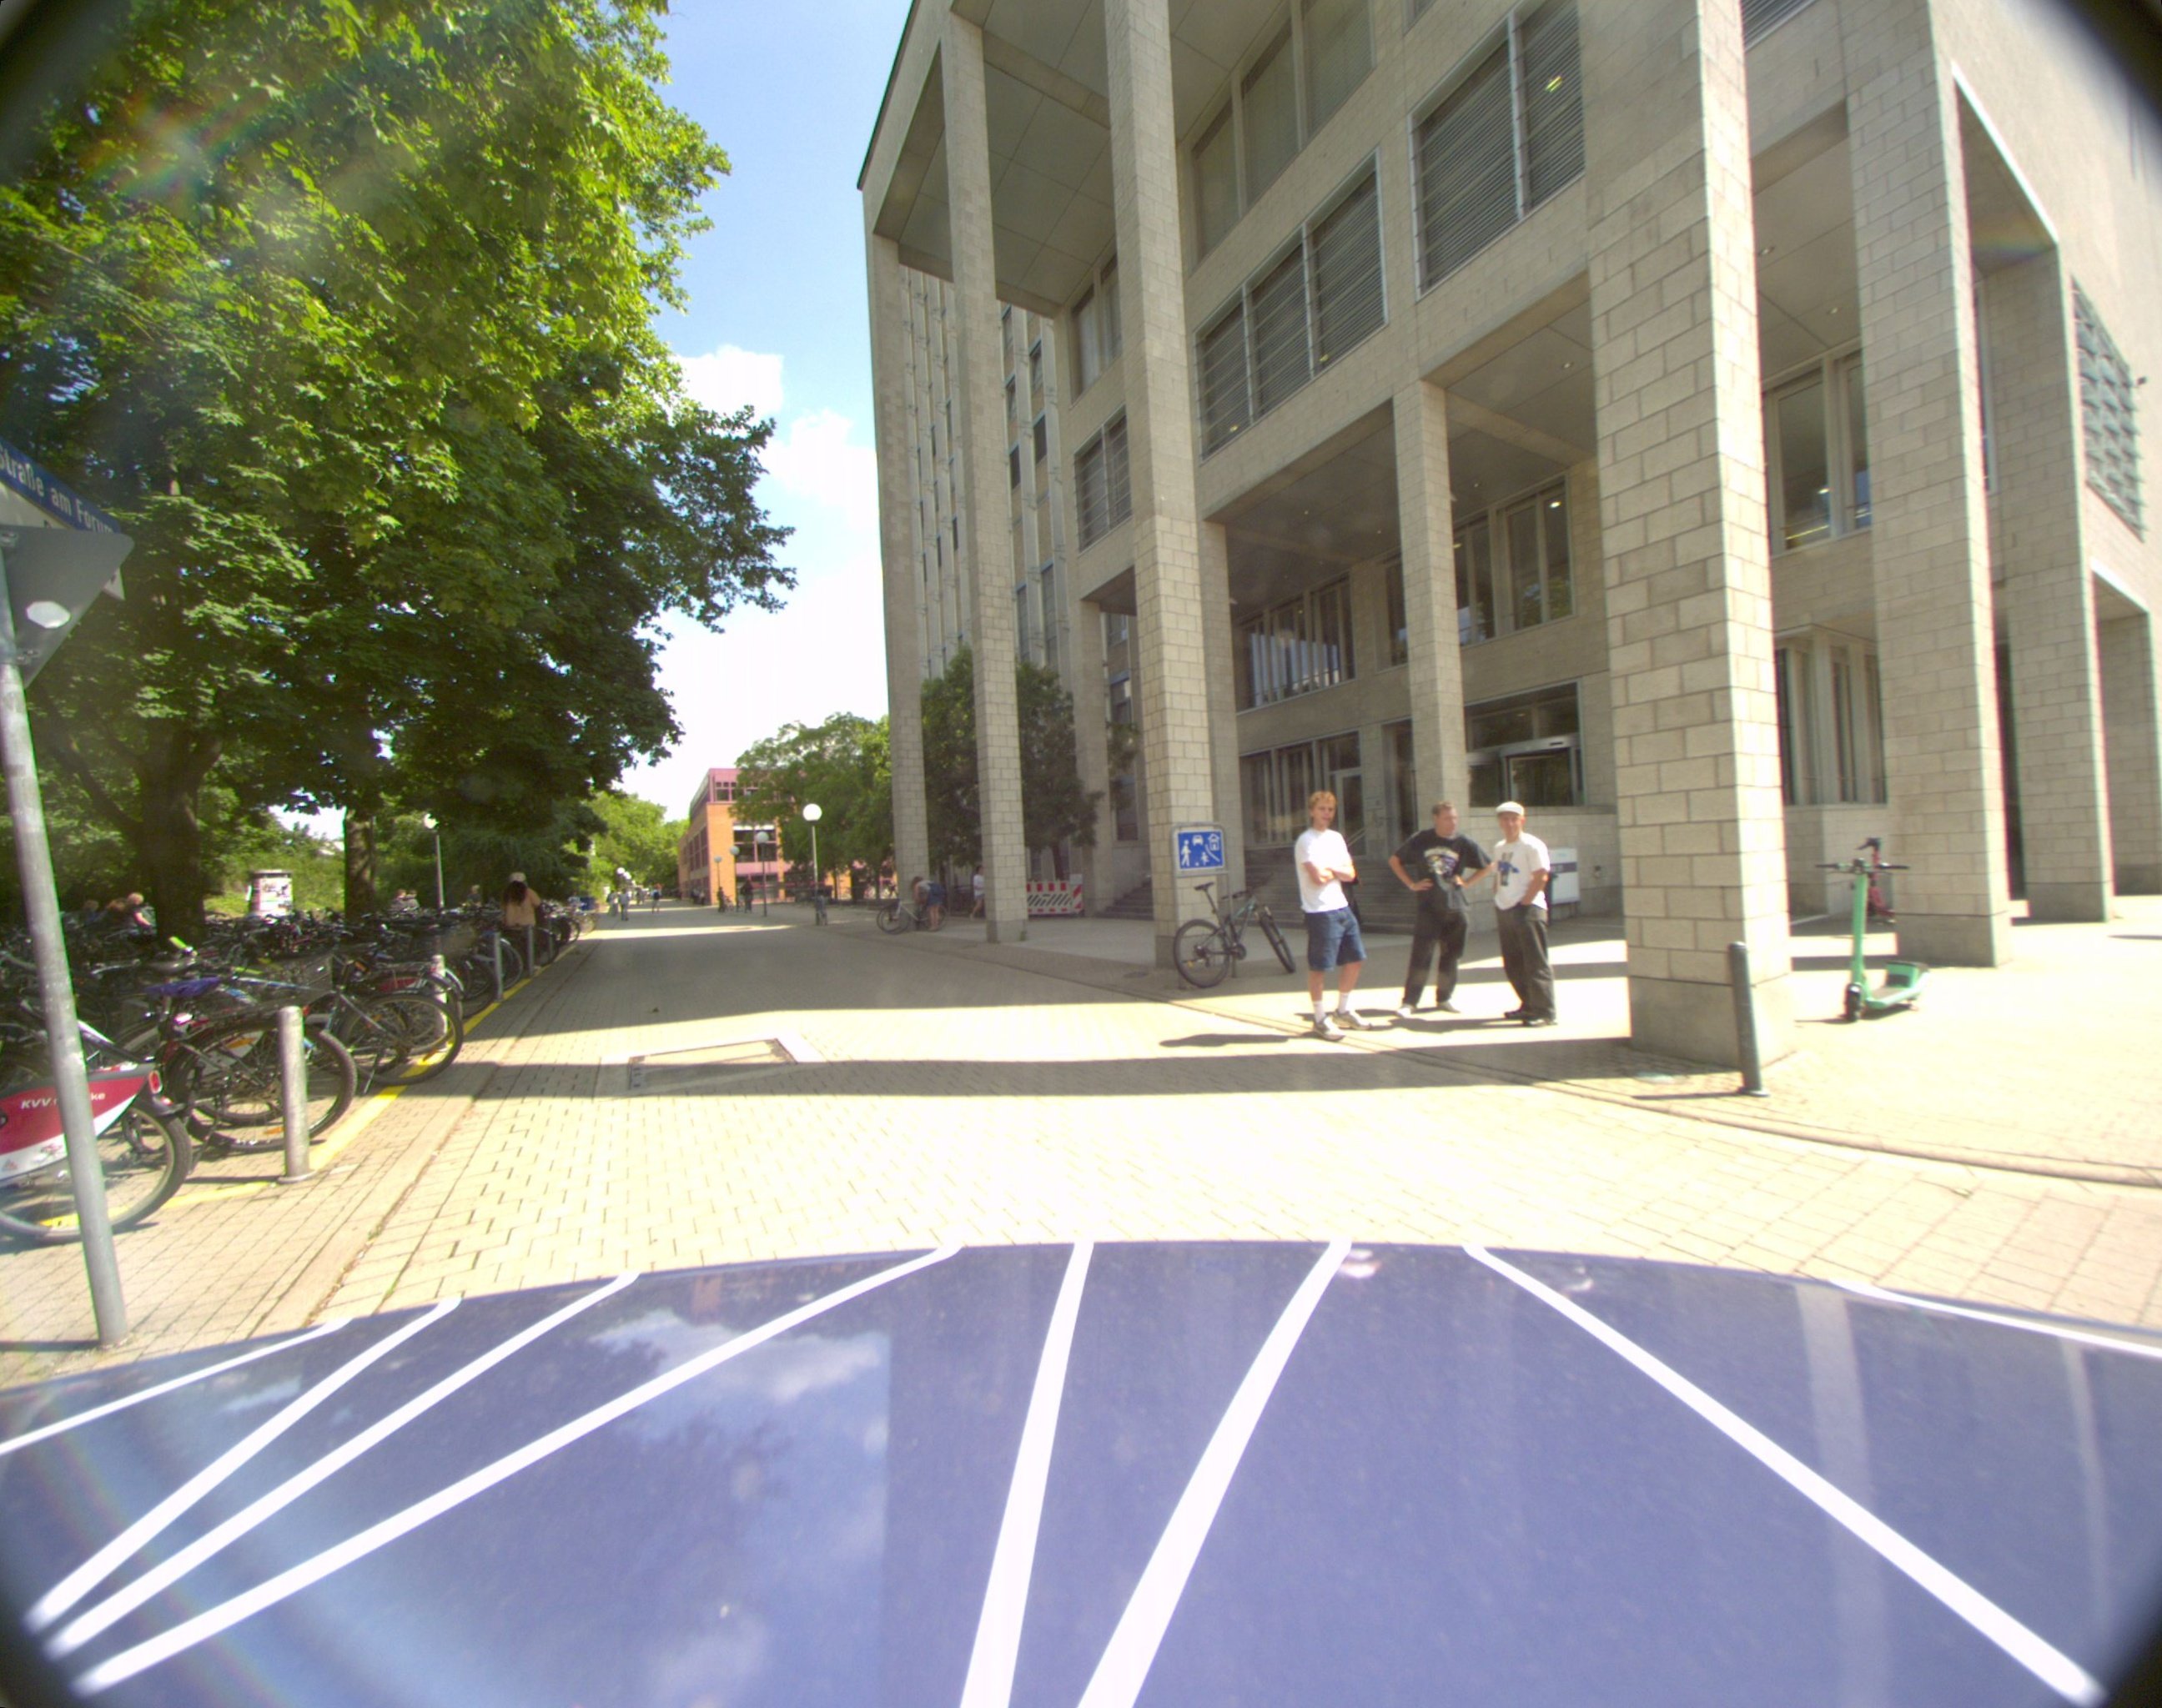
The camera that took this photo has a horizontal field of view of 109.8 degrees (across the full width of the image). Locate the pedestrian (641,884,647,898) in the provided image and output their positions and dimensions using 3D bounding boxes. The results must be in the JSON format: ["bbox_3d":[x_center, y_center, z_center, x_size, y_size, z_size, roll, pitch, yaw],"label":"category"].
[{"bbox_3d":[-54.797,4.630,95.293,0.566,1.754,0.802,-2,2,-24],"label":"pedestrian"}]

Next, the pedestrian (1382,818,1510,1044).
[{"bbox_3d":[3.048,0.627,6.423,0.808,1.786,0.621,-3,0,16],"label":"pedestrian"}]

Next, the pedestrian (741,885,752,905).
[{"bbox_3d":[-26.295,3.204,59.713,0.692,1.503,0.514,-2,2,-32],"label":"pedestrian"}]

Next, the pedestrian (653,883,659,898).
[{"bbox_3d":[-53.713,4.596,96.037,0.566,1.754,0.802,-2,2,-24],"label":"pedestrian"}]

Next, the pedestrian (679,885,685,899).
[{"bbox_3d":[-52.317,4.988,99.606,0.566,1.754,0.802,-2,2,-24],"label":"pedestrian"}]

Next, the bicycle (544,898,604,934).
[{"bbox_3d":[-17.655,2.140,26.476,1.691,1.143,0.550,-1,-3,-35],"label":"bicycle"}]

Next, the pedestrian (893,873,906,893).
[{"bbox_3d":[-16.071,2.567,67.241,0.974,1.754,0.743,-1,2,-4],"label":"pedestrian"}]

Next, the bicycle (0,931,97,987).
[{"bbox_3d":[-19.917,2.010,14.537,1.901,0.973,0.479,-2,1,10],"label":"bicycle"}]

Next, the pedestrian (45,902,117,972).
[{"bbox_3d":[-23.728,1.959,18.035,0.744,1.560,0.721,-2,0,7],"label":"pedestrian"}]

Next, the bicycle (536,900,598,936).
[{"bbox_3d":[-17.056,2.119,25.233,1.691,1.077,0.528,-1,-3,-35],"label":"bicycle"}]

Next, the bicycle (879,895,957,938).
[{"bbox_3d":[-3.951,1.508,18.510,1.778,0.894,0.336,-3,-1,-25],"label":"bicycle"}]

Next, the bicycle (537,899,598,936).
[{"bbox_3d":[-17.475,2.155,25.872,1.691,1.143,0.550,-1,-3,-35],"label":"bicycle"}]

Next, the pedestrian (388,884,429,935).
[{"bbox_3d":[-21.713,1.780,24.550,0.745,1.560,0.719,-2,0,-22],"label":"pedestrian"}]

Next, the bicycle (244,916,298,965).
[{"bbox_3d":[-19.205,2.052,18.014,1.468,1.077,0.454,-5,-3,26],"label":"bicycle"}]

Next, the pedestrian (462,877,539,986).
[{"bbox_3d":[-9.547,1.246,12.523,0.946,1.692,0.427,-2,-2,-34],"label":"pedestrian"}]

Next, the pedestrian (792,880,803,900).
[{"bbox_3d":[-22.633,2.882,60.694,0.692,1.503,0.514,-2,2,-32],"label":"pedestrian"}]

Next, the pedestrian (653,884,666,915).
[{"bbox_3d":[-24.826,2.671,44.754,0.566,1.754,0.802,-2,3,-36],"label":"pedestrian"}]

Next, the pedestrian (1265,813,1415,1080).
[{"bbox_3d":[1.989,0.661,5.863,0.687,1.880,0.686,-4,0,-33],"label":"pedestrian"}]

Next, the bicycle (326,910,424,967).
[{"bbox_3d":[-15.328,1.816,16.535,1.474,1.077,0.352,-3,0,-34],"label":"bicycle"}]

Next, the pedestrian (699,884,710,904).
[{"bbox_3d":[-33.877,3.585,68.351,0.745,1.754,0.972,-2,2,-31],"label":"pedestrian"}]

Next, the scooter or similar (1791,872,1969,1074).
[{"bbox_3d":[5.790,0.778,5.492,1.513,1.205,0.563,-3,3,-31],"label":"scooter or similar"}]

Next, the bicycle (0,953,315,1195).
[{"bbox_3d":[-5.293,1.165,4.150,1.526,1.134,0.491,-1,1,-11],"label":"bicycle"}]

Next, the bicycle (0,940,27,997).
[{"bbox_3d":[-20.133,2.087,13.724,1.901,0.973,0.479,-2,1,10],"label":"bicycle"}]

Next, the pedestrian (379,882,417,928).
[{"bbox_3d":[-23.748,1.763,26.436,0.745,1.560,0.719,-2,0,-22],"label":"pedestrian"}]

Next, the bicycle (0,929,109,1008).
[{"bbox_3d":[-16.171,1.795,11.964,1.842,1.163,0.346,-2,0,15],"label":"bicycle"}]

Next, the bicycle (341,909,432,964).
[{"bbox_3d":[-15.807,1.856,17.325,1.474,1.077,0.352,-2,0,-43],"label":"bicycle"}]

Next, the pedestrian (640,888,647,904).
[{"bbox_3d":[-50.111,4.808,86.999,0.669,1.754,0.802,-2,2,-32],"label":"pedestrian"}]

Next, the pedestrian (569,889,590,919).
[{"bbox_3d":[-26.212,2.614,39.721,0.690,1.503,0.515,0,2,16],"label":"pedestrian"}]

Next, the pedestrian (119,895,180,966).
[{"bbox_3d":[-24.225,1.970,19.768,0.743,1.779,0.722,-2,0,16],"label":"pedestrian"}]

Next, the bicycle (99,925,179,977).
[{"bbox_3d":[-19.430,1.975,15.668,1.899,0.973,0.479,-2,1,22],"label":"bicycle"}]

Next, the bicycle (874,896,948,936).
[{"bbox_3d":[-4.295,1.560,19.274,1.777,0.894,0.448,-2,-1,-12],"label":"bicycle"}]

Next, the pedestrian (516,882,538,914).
[{"bbox_3d":[-26.778,2.110,36.730,0.690,1.503,0.515,0,2,16],"label":"pedestrian"}]

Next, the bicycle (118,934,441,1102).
[{"bbox_3d":[-6.285,1.246,6.076,1.698,1.079,0.481,-1,1,-25],"label":"bicycle"}]

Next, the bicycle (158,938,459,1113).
[{"bbox_3d":[-5.785,1.247,5.797,1.517,1.079,0.481,-1,1,-25],"label":"bicycle"}]

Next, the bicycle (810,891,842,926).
[{"bbox_3d":[-8.398,1.772,25.007,0.571,1.096,1.830,-1,-2,-32],"label":"bicycle"}]

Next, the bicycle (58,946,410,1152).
[{"bbox_3d":[-5.523,1.227,5.072,1.476,1.079,0.459,-1,1,-29],"label":"bicycle"}]

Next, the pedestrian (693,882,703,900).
[{"bbox_3d":[-38.670,3.712,76.712,0.745,1.754,0.972,-2,2,-31],"label":"pedestrian"}]

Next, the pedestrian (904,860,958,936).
[{"bbox_3d":[-3.576,1.044,18.111,0.935,1.730,0.750,-3,0,41],"label":"pedestrian"}]

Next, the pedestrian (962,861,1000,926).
[{"bbox_3d":[-2.817,1.091,21.256,0.750,1.730,0.936,-3,0,-22],"label":"pedestrian"}]

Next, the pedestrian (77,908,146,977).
[{"bbox_3d":[-22.919,2.078,17.971,0.743,1.560,0.721,-2,0,12],"label":"pedestrian"}]

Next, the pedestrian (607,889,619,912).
[{"bbox_3d":[-32.541,3.230,52.858,0.692,1.503,0.514,-2,2,-32],"label":"pedestrian"}]

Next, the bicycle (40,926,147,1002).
[{"bbox_3d":[-15.946,1.770,12.265,1.842,1.163,0.346,-2,0,15],"label":"bicycle"}]

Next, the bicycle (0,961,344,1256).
[{"bbox_3d":[-4.664,1.179,3.663,1.492,1.134,0.560,-1,1,-33],"label":"bicycle"}]

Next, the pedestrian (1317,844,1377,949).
[{"bbox_3d":[4.559,0.712,13.006,0.688,1.724,0.687,-3,0,42],"label":"pedestrian"}]

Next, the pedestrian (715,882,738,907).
[{"bbox_3d":[-23.035,2.642,49.399,0.728,1.503,1.207,0,2,9],"label":"pedestrian"}]

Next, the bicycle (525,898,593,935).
[{"bbox_3d":[-16.821,2.003,24.508,1.689,1.077,0.528,-2,-3,-20],"label":"bicycle"}]

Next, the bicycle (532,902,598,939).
[{"bbox_3d":[-16.282,2.089,23.998,1.691,1.077,0.528,-1,-3,-35],"label":"bicycle"}]

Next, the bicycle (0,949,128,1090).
[{"bbox_3d":[-9.331,1.400,6.259,1.829,1.071,0.463,-1,1,-22],"label":"bicycle"}]

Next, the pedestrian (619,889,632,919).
[{"bbox_3d":[-23.423,2.570,39.083,0.516,1.503,0.689,-2,2,-28],"label":"pedestrian"}]

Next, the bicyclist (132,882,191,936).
[{"bbox_3d":[-25.574,1.508,21.141,0.743,1.438,0.804,-2,0,17],"label":"bicyclist"}]

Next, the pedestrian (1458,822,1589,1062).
[{"bbox_3d":[3.407,0.641,5.870,0.543,1.719,0.613,-3,0,-29],"label":"pedestrian"}]

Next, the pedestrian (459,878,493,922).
[{"bbox_3d":[-22.529,1.694,28.308,0.745,1.560,0.719,-2,0,-22],"label":"pedestrian"}]

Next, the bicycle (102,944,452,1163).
[{"bbox_3d":[-4.982,1.187,4.839,1.443,1.079,0.459,-1,1,-32],"label":"bicycle"}]

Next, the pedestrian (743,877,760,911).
[{"bbox_3d":[-18.302,2.215,42.208,0.745,1.754,0.972,-2,2,-26],"label":"pedestrian"}]
